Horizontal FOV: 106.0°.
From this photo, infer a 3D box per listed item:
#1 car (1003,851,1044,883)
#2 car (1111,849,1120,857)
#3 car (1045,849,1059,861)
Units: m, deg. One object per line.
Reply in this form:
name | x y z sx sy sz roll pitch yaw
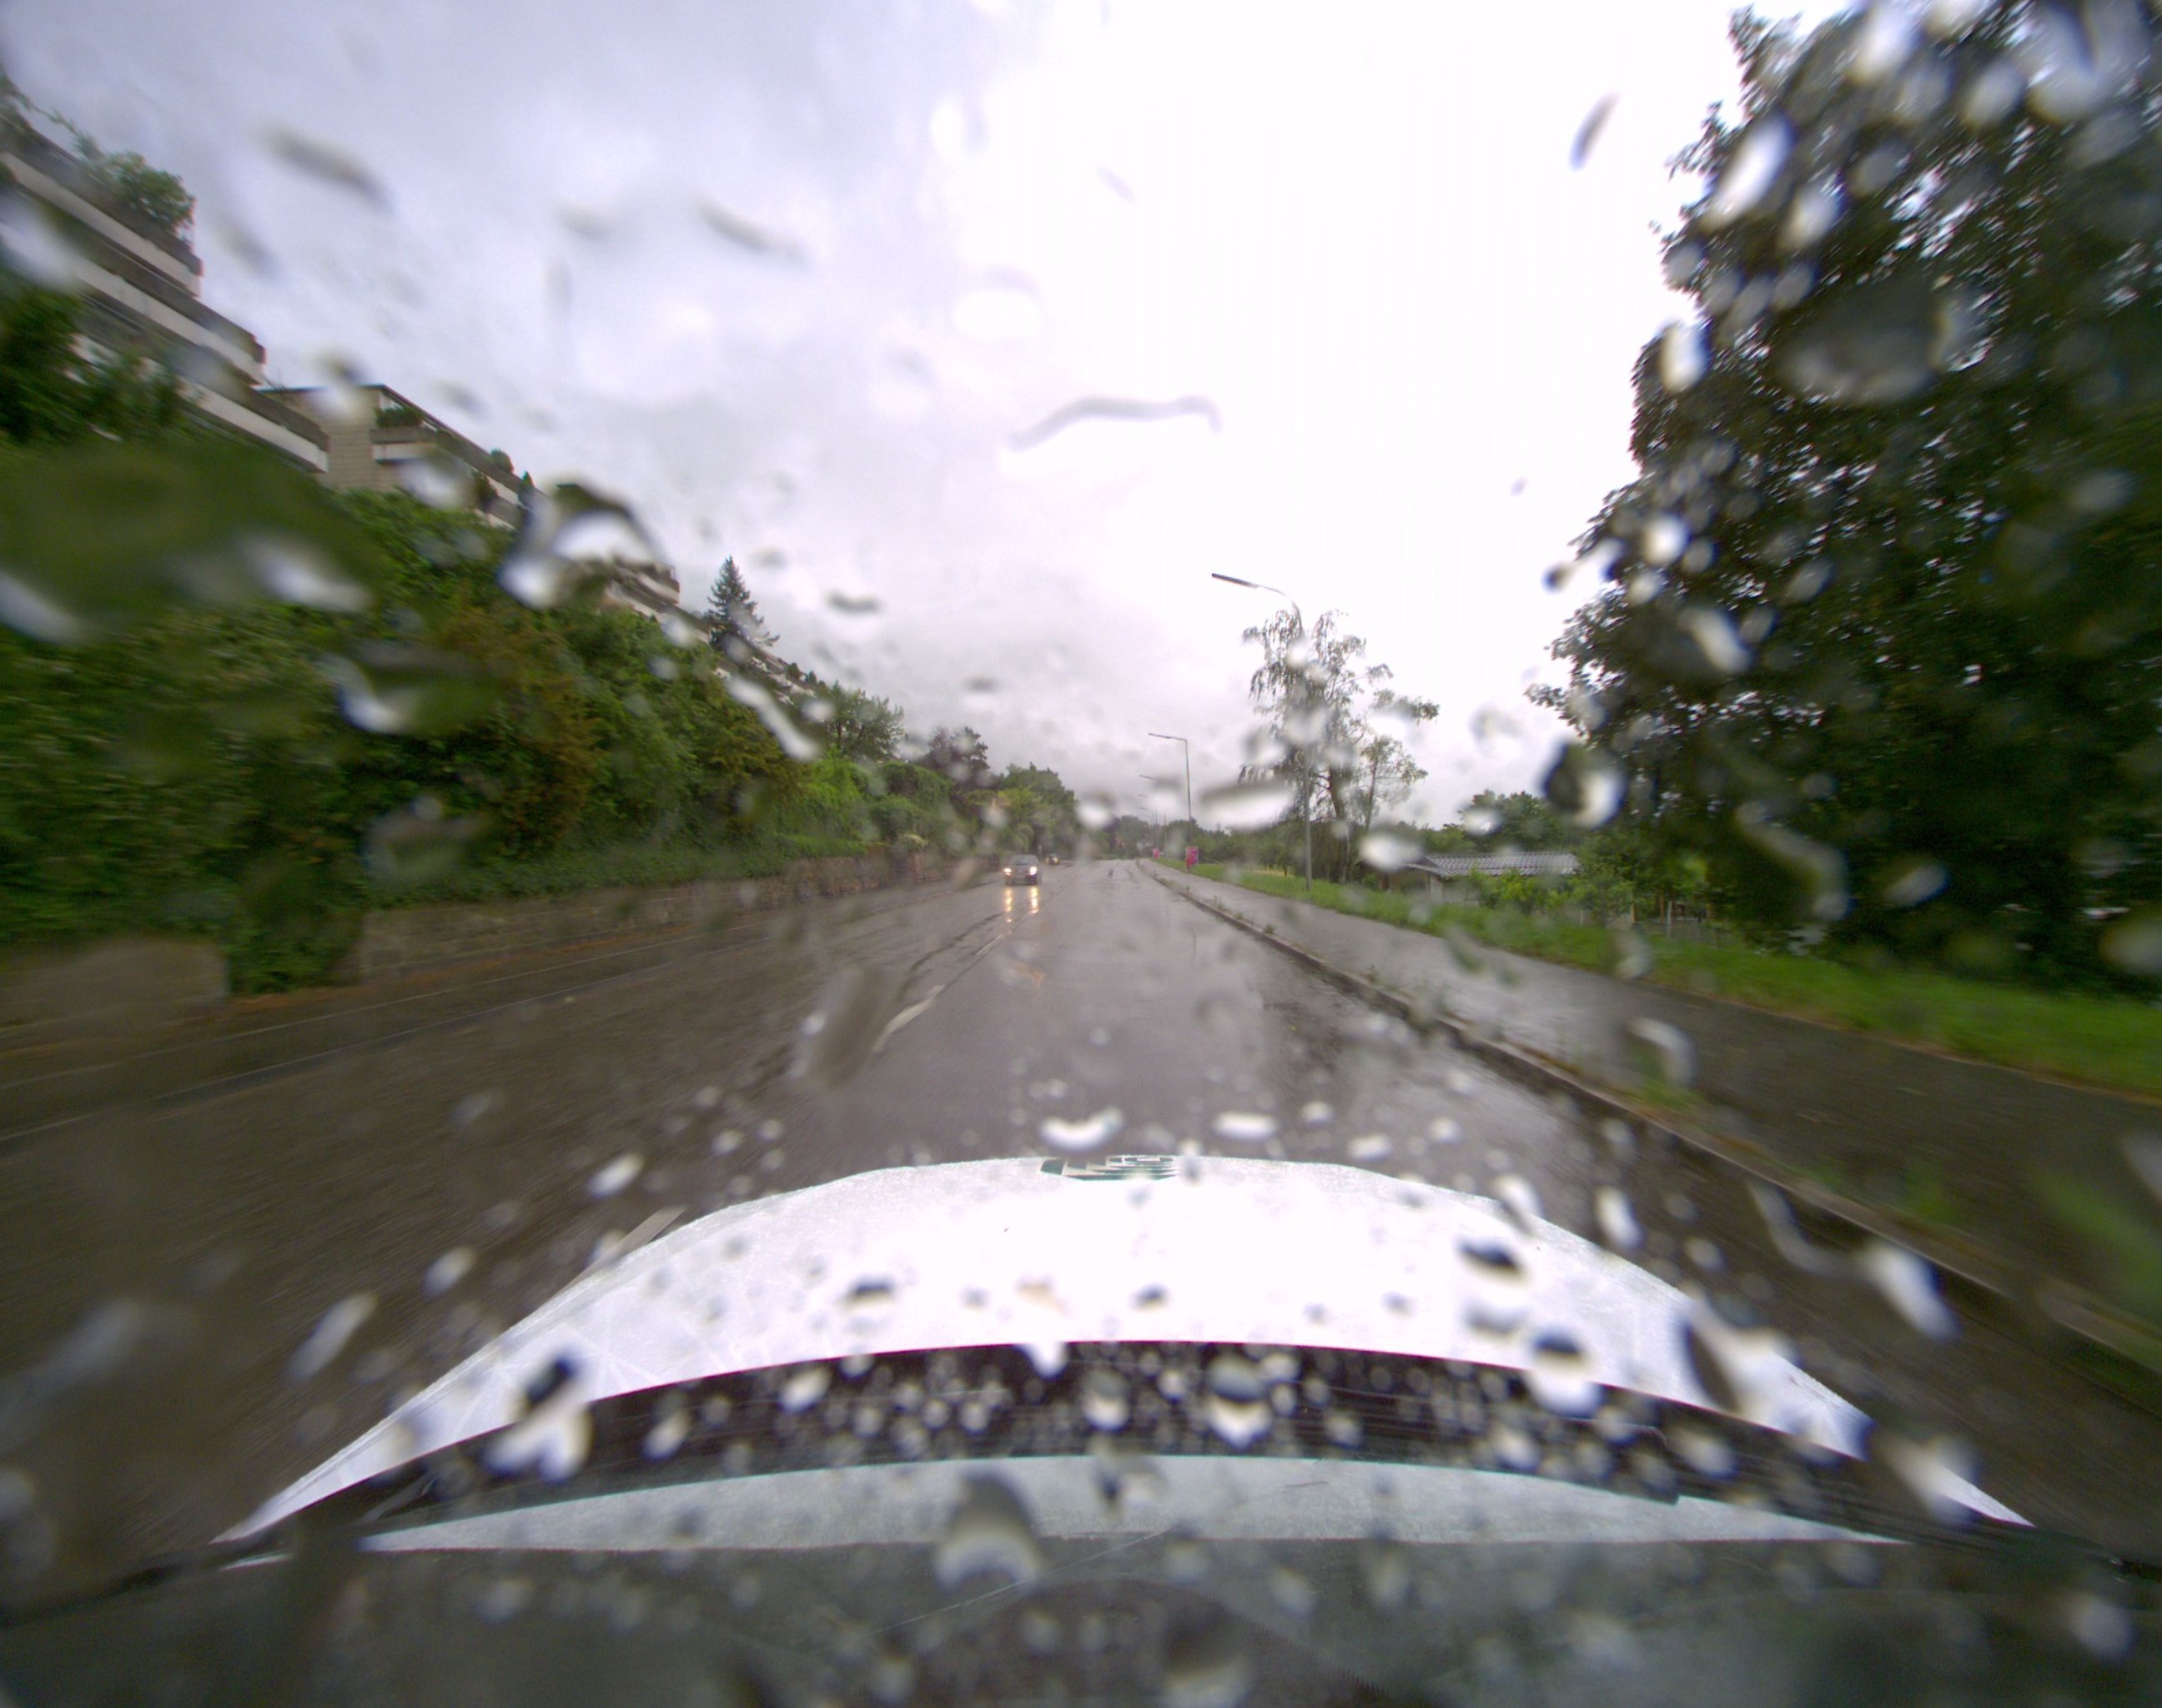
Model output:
car | -2.935 0.642 42.408 1.754 1.496 4.127 -2 0 0
car | 8.415 -0.280 198.017 1.986 2.014 4.001 -1 0 2
car | -3.790 0.178 107.835 1.722 1.496 3.986 -2 0 -1
